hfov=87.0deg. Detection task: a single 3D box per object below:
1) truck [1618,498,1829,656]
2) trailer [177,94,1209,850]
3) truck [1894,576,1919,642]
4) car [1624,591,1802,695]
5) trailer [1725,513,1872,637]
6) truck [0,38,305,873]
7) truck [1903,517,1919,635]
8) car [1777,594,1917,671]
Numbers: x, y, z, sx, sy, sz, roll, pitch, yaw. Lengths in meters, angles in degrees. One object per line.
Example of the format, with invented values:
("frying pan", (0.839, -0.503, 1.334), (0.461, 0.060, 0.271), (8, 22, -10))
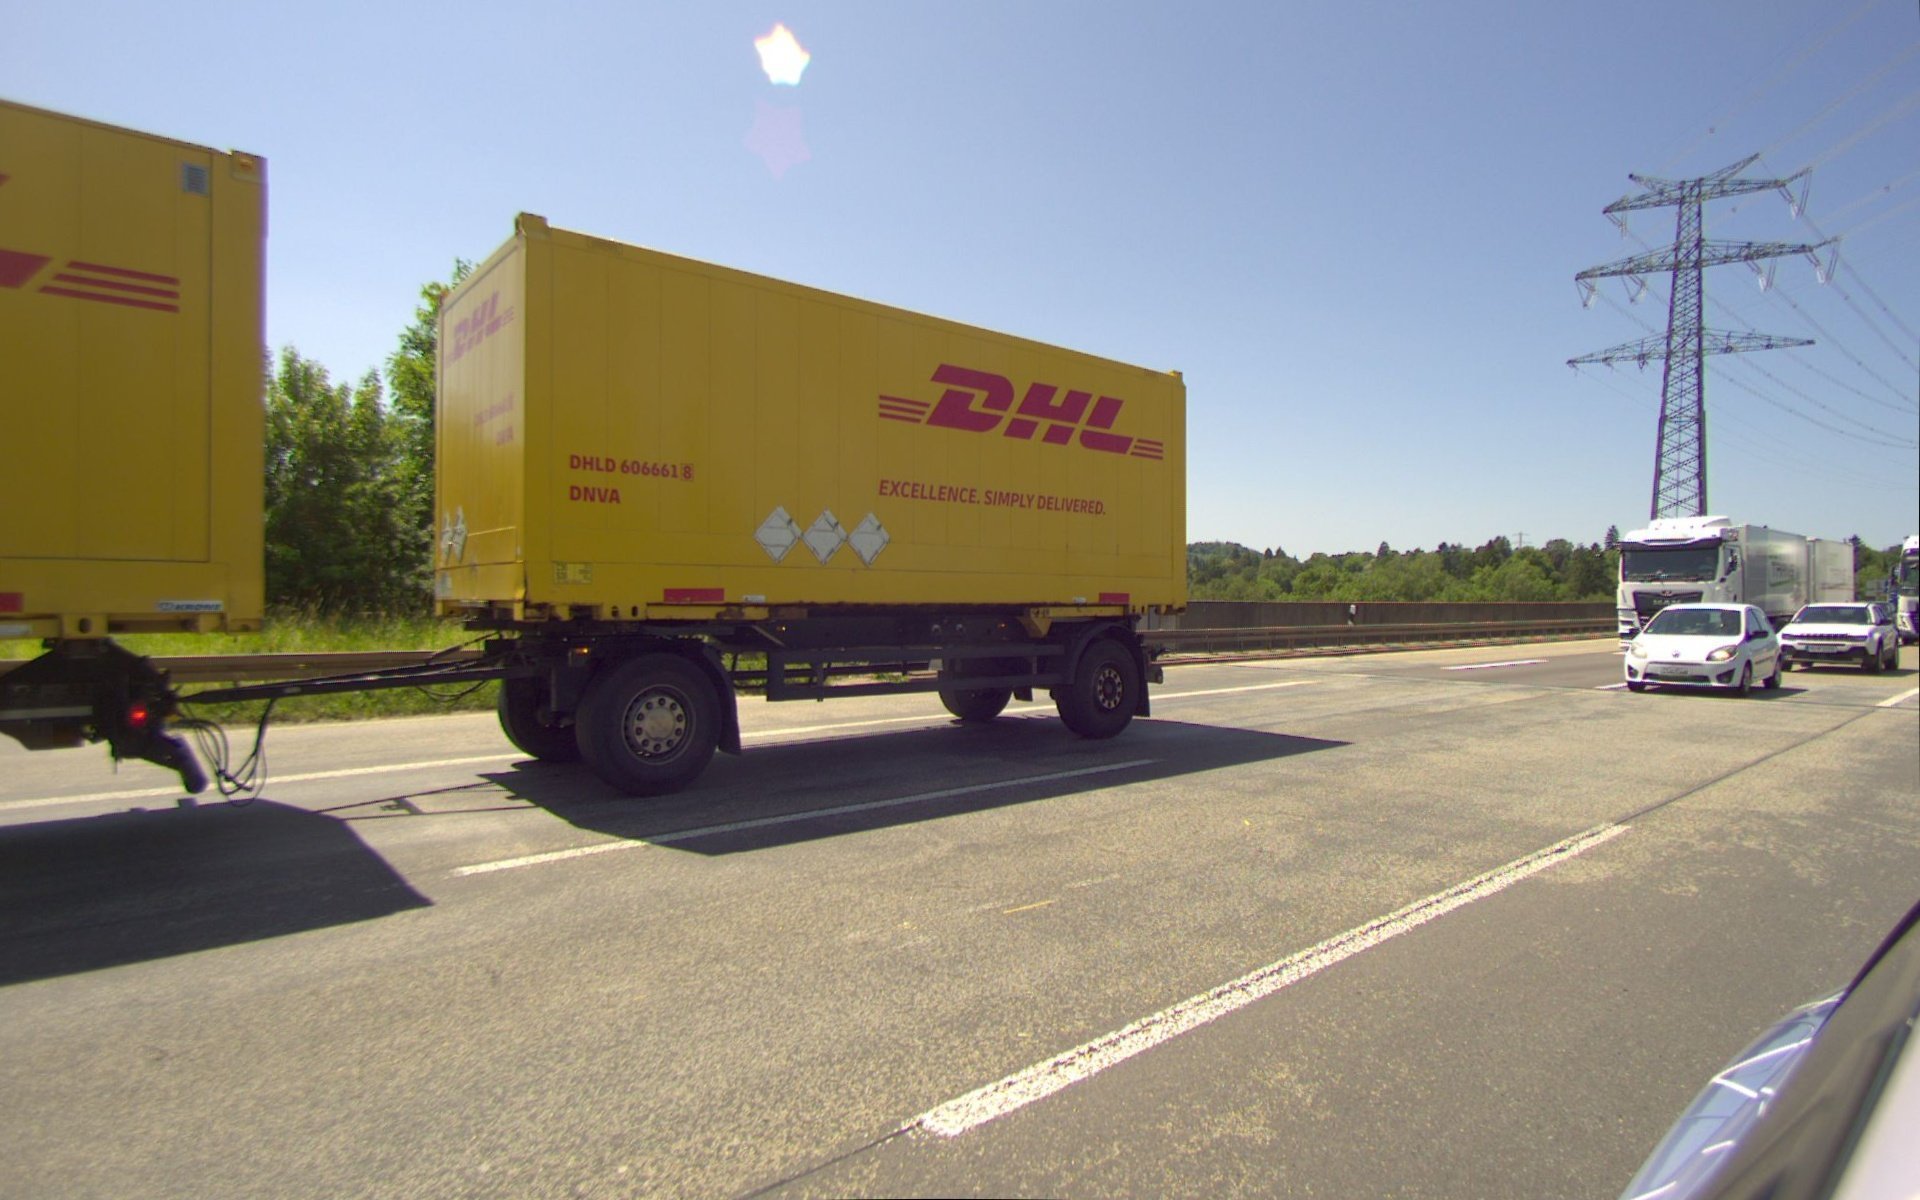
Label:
("truck", (22.970, -0.597, 30.084), (11.098, 3.980, 2.693), (0, 0, -41))
("trailer", (-1.563, -0.721, 9.627), (9.211, 4.170, 2.770), (0, -1, -40))
("truck", (61.331, 0.470, 63.443), (11.077, 3.929, 2.838), (-1, 0, -41))
("car", (12.800, 0.642, 17.127), (3.759, 1.529, 1.658), (-1, 0, -41))
("trailer", (30.067, -0.809, 36.163), (7.636, 3.991, 2.750), (0, -1, -41))
("truck", (-8.392, -0.713, 3.737), (9.778, 4.162, 2.770), (0, -1, -41))
("truck", (39.309, -0.837, 39.009), (14.003, 4.090, 2.716), (0, -1, -40))
("car", (19.876, 0.657, 22.632), (3.783, 1.549, 1.775), (-1, 0, -40))
